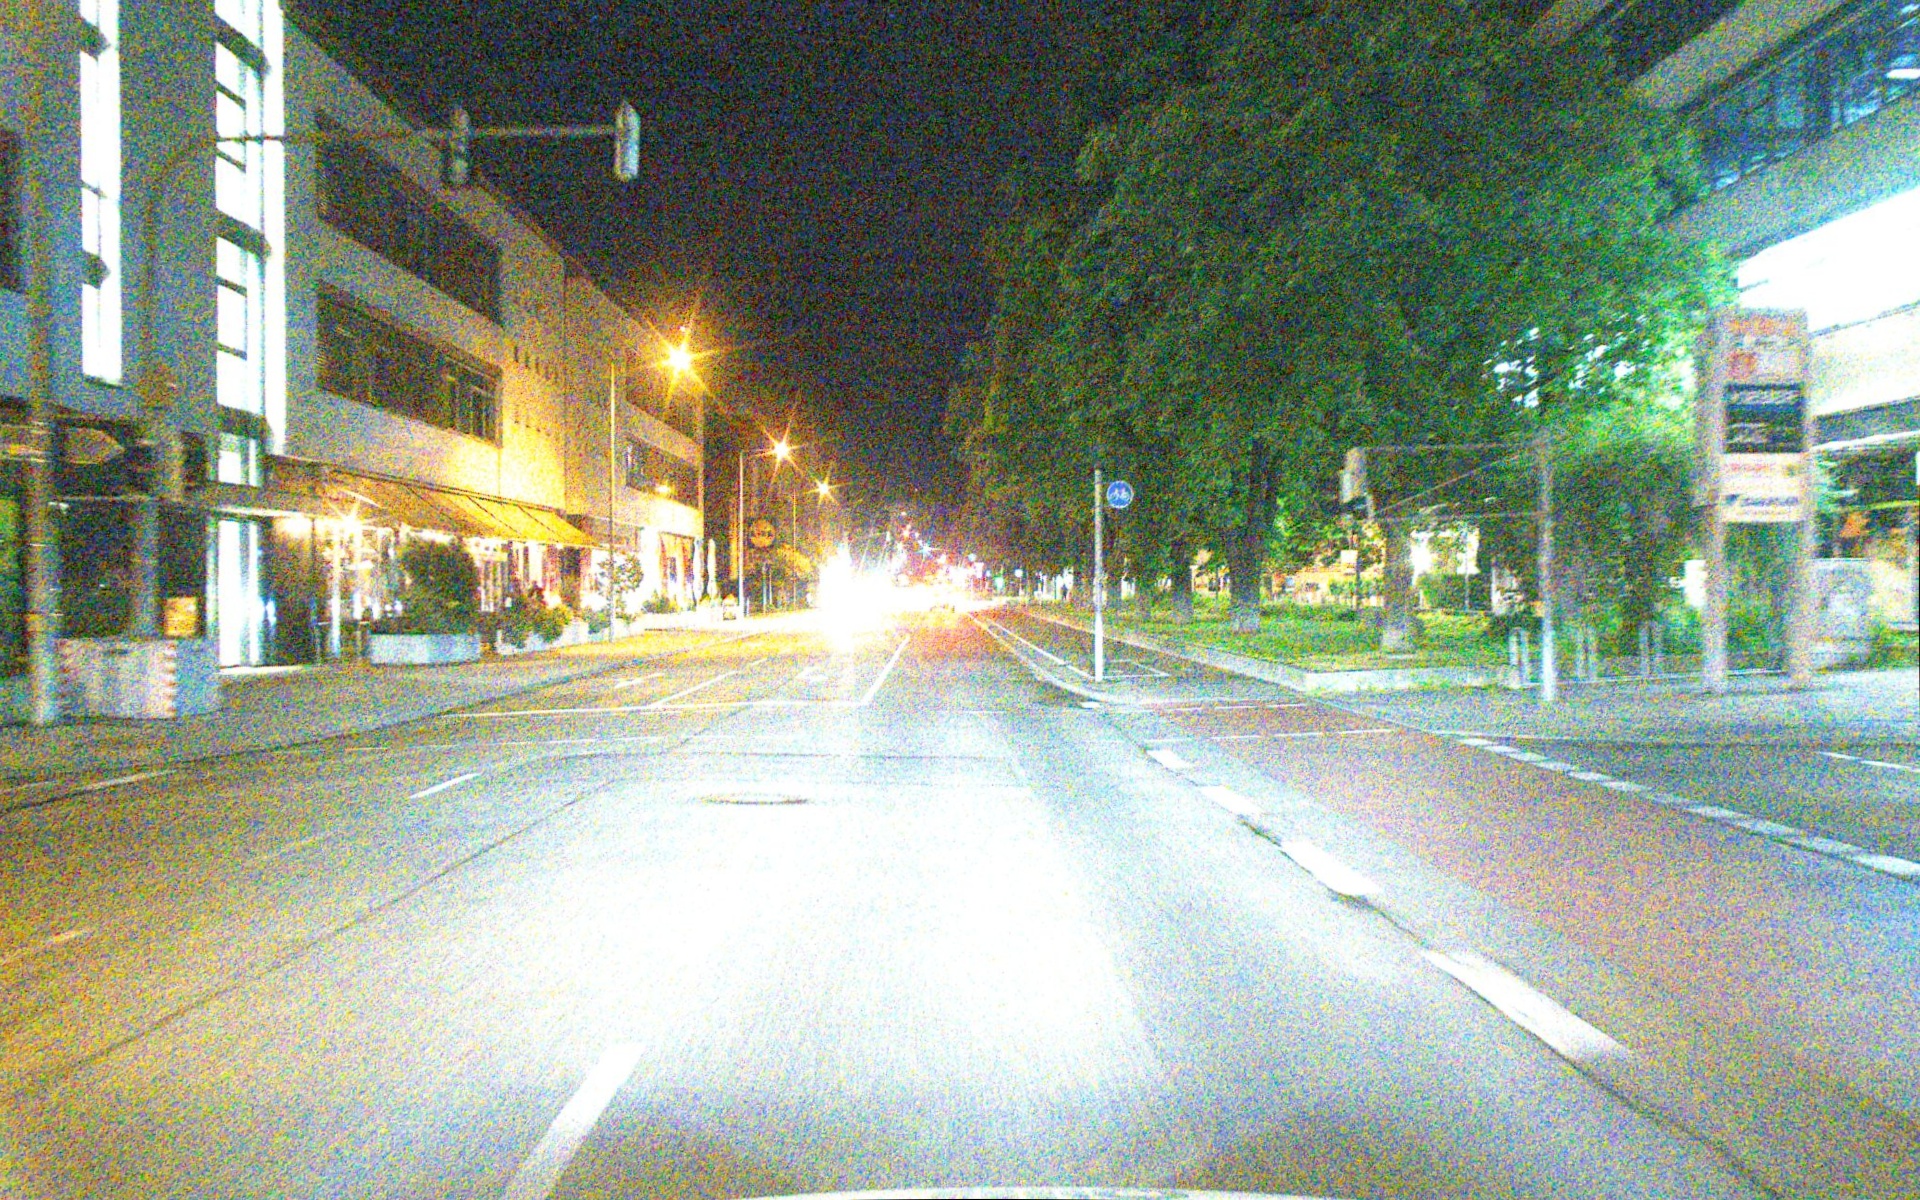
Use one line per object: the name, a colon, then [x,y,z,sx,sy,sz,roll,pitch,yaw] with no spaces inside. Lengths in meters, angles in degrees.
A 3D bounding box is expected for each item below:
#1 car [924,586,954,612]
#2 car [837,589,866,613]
car: [-1.433,-0.077,113.636,1.953,1.672,3.999,-1,0,-1]
car: [-7.889,0.080,120.897,1.953,1.672,3.999,-1,0,-2]
